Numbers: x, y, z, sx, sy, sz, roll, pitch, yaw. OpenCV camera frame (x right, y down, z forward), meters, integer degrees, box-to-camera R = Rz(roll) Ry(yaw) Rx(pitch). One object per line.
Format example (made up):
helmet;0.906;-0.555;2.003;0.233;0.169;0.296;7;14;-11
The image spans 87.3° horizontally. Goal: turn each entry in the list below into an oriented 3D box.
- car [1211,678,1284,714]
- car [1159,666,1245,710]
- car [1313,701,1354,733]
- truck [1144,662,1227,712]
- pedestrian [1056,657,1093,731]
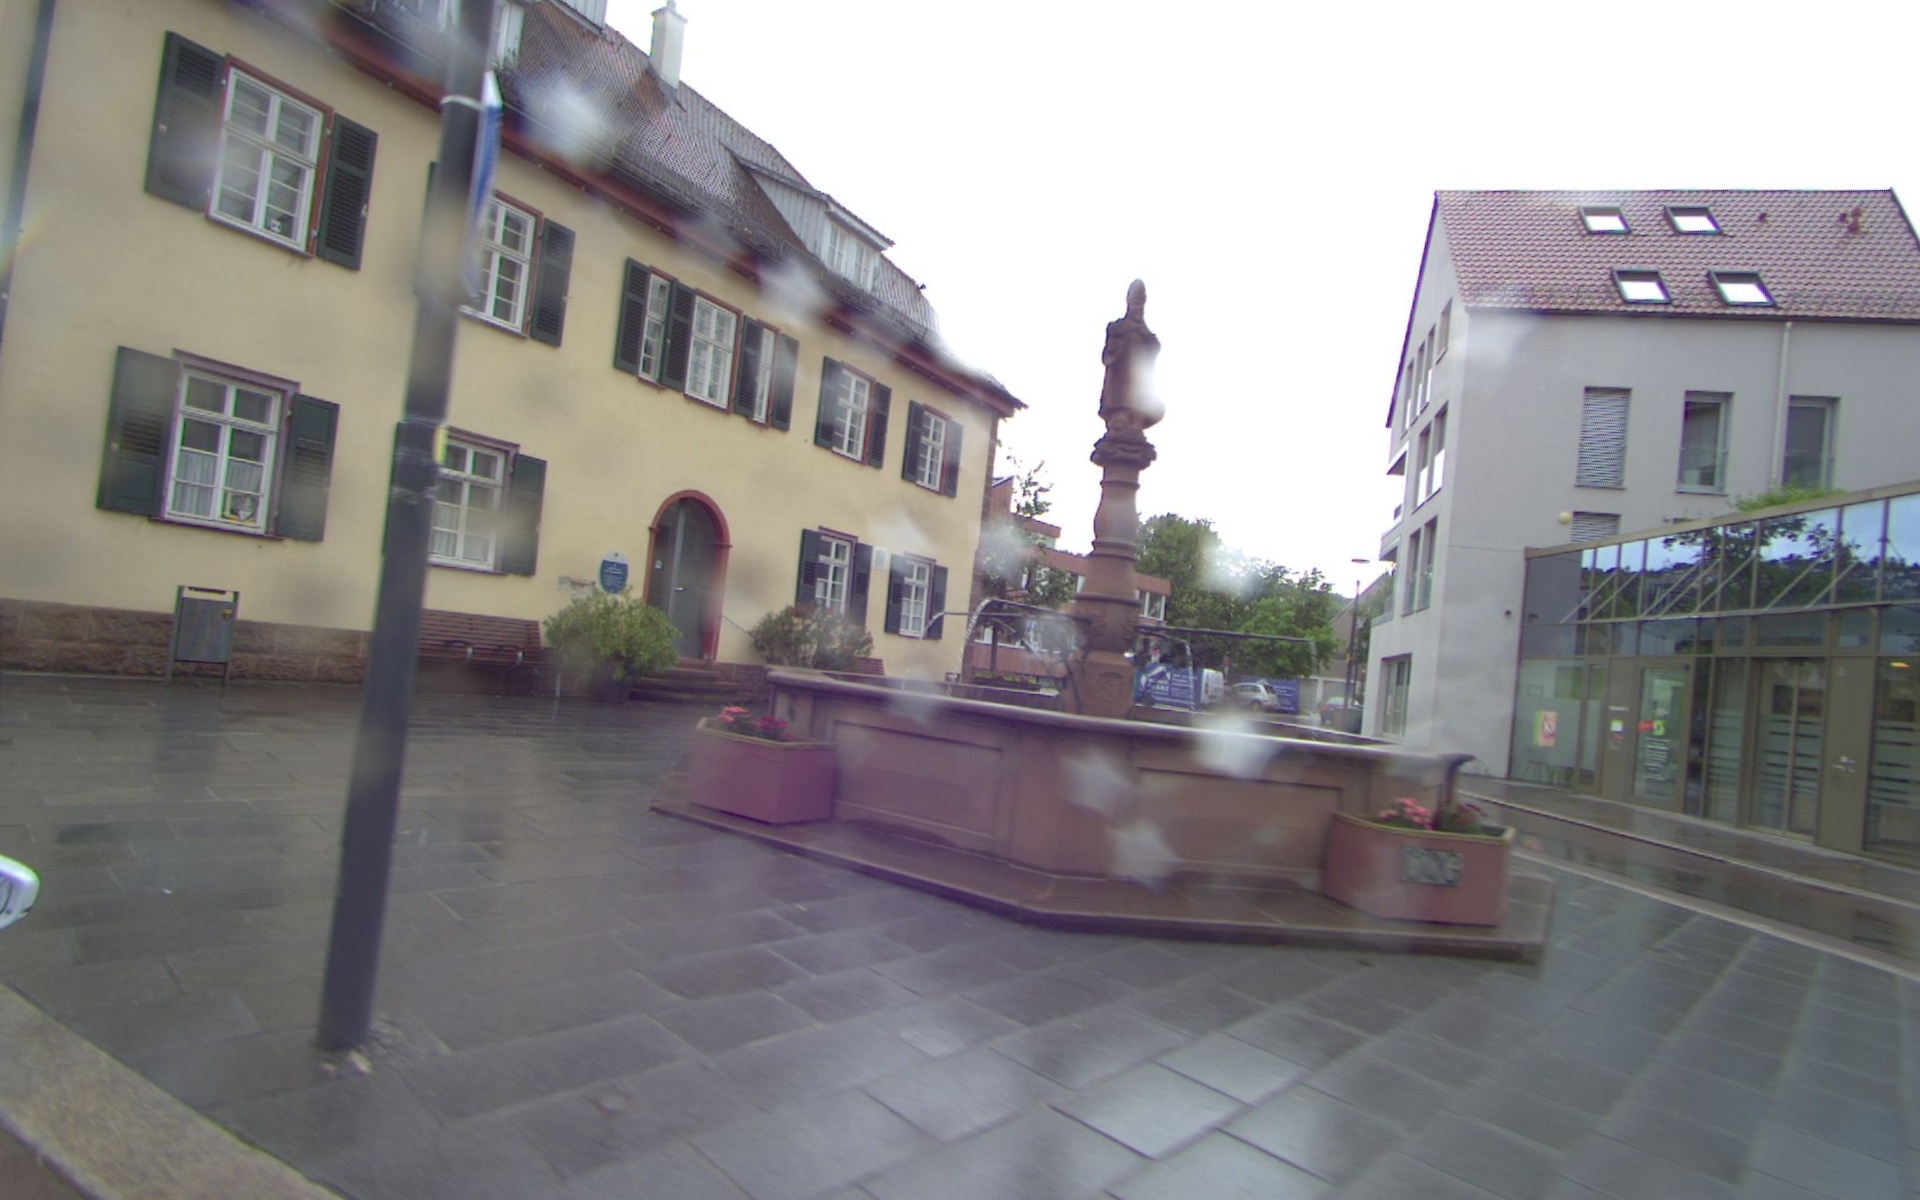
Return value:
car;16.484;5.526;57.727;3.491;1.566;1.861;6;-2;33
car;12.903;4.705;53.685;3.935;1.814;1.997;6;-2;32
car;19.201;5.984;51.676;1.642;1.379;3.607;6;-2;24
truck;11.355;4.362;50.692;3.491;2.037;1.861;6;-2;33
pedestrian;3.031;2.475;26.715;0.777;1.843;0.687;6;-1;6
